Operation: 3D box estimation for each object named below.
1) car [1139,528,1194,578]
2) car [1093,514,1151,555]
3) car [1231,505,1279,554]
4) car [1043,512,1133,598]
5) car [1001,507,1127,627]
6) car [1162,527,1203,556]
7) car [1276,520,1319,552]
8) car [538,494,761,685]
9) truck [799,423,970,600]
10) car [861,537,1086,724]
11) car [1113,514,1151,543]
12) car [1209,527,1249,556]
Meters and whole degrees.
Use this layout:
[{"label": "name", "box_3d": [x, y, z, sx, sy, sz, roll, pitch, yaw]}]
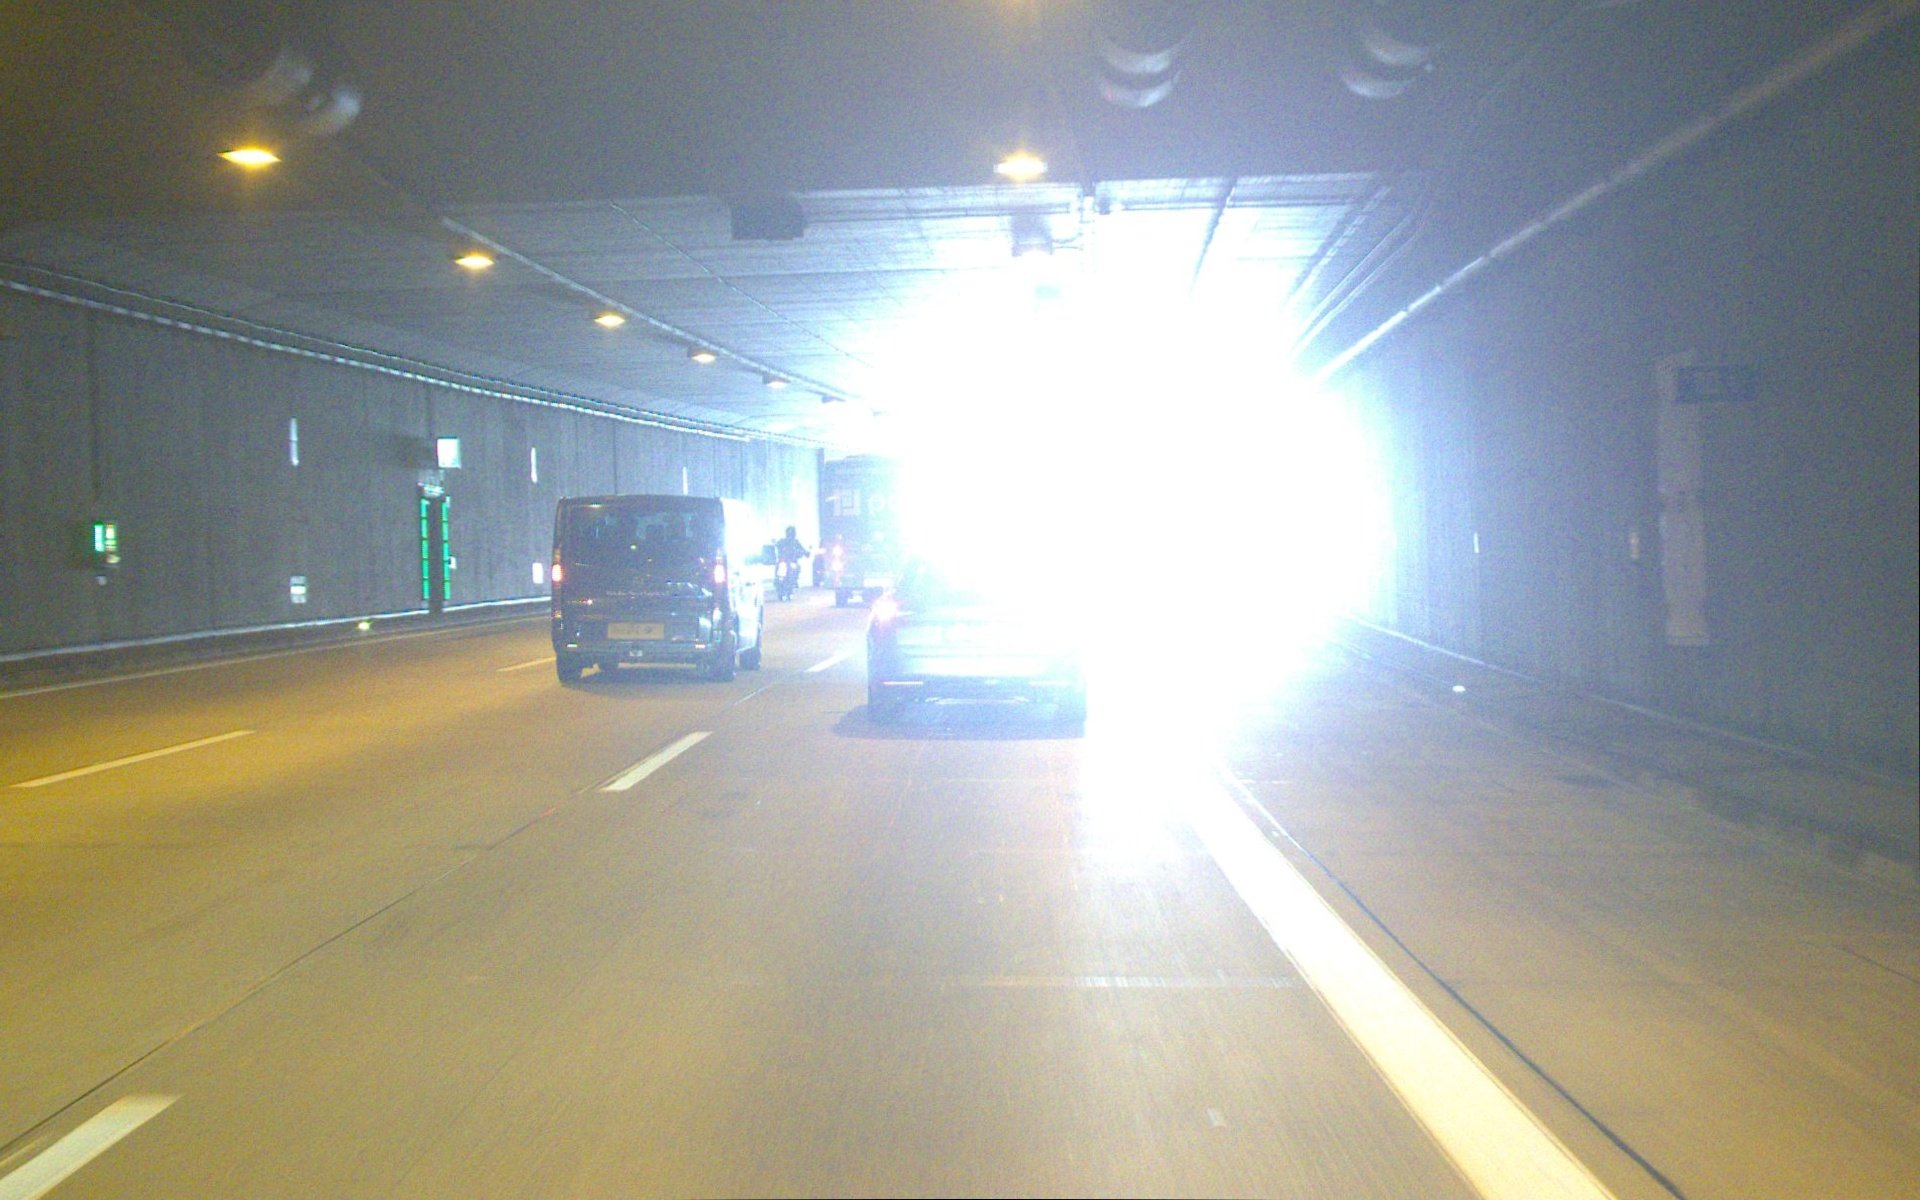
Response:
[{"label": "car", "box_3d": [7.341, -1.661, 121.921, 1.931, 1.637, 3.999, 0, -1, 4]}, {"label": "car", "box_3d": [6.851, -2.760, 145.075, 1.994, 1.626, 3.998, 0, 0, 9]}, {"label": "car", "box_3d": [13.032, -3.106, 151.776, 1.994, 2.007, 3.999, 0, -1, 6]}, {"label": "car", "box_3d": [2.876, -0.980, 76.610, 1.950, 1.766, 3.999, 0, -1, 3]}, {"label": "car", "box_3d": [1.695, -0.537, 54.774, 1.857, 1.848, 4.000, 0, 1, 4]}, {"label": "car", "box_3d": [13.474, -3.525, 208.006, 1.931, 1.637, 3.997, 0, -1, 12]}, {"label": "car", "box_3d": [17.331, -3.283, 176.342, 1.931, 1.637, 3.999, 0, 1, 10]}, {"label": "car", "box_3d": [-3.271, -0.142, 36.898, 1.910, 1.938, 3.871, 0, 1, 2]}, {"label": "truck", "box_3d": [-1.556, -1.893, 75.002, 3.039, 3.660, 7.392, 0, 1, 4]}, {"label": "car", "box_3d": [0.174, 0.203, 28.889, 1.742, 1.459, 3.871, 0, 1, 2]}, {"label": "car", "box_3d": [9.752, -4.042, 194.743, 1.931, 1.637, 3.999, 0, 1, 7]}, {"label": "car", "box_3d": [15.819, -3.424, 202.115, 1.994, 1.626, 3.998, 0, 0, 10]}]
